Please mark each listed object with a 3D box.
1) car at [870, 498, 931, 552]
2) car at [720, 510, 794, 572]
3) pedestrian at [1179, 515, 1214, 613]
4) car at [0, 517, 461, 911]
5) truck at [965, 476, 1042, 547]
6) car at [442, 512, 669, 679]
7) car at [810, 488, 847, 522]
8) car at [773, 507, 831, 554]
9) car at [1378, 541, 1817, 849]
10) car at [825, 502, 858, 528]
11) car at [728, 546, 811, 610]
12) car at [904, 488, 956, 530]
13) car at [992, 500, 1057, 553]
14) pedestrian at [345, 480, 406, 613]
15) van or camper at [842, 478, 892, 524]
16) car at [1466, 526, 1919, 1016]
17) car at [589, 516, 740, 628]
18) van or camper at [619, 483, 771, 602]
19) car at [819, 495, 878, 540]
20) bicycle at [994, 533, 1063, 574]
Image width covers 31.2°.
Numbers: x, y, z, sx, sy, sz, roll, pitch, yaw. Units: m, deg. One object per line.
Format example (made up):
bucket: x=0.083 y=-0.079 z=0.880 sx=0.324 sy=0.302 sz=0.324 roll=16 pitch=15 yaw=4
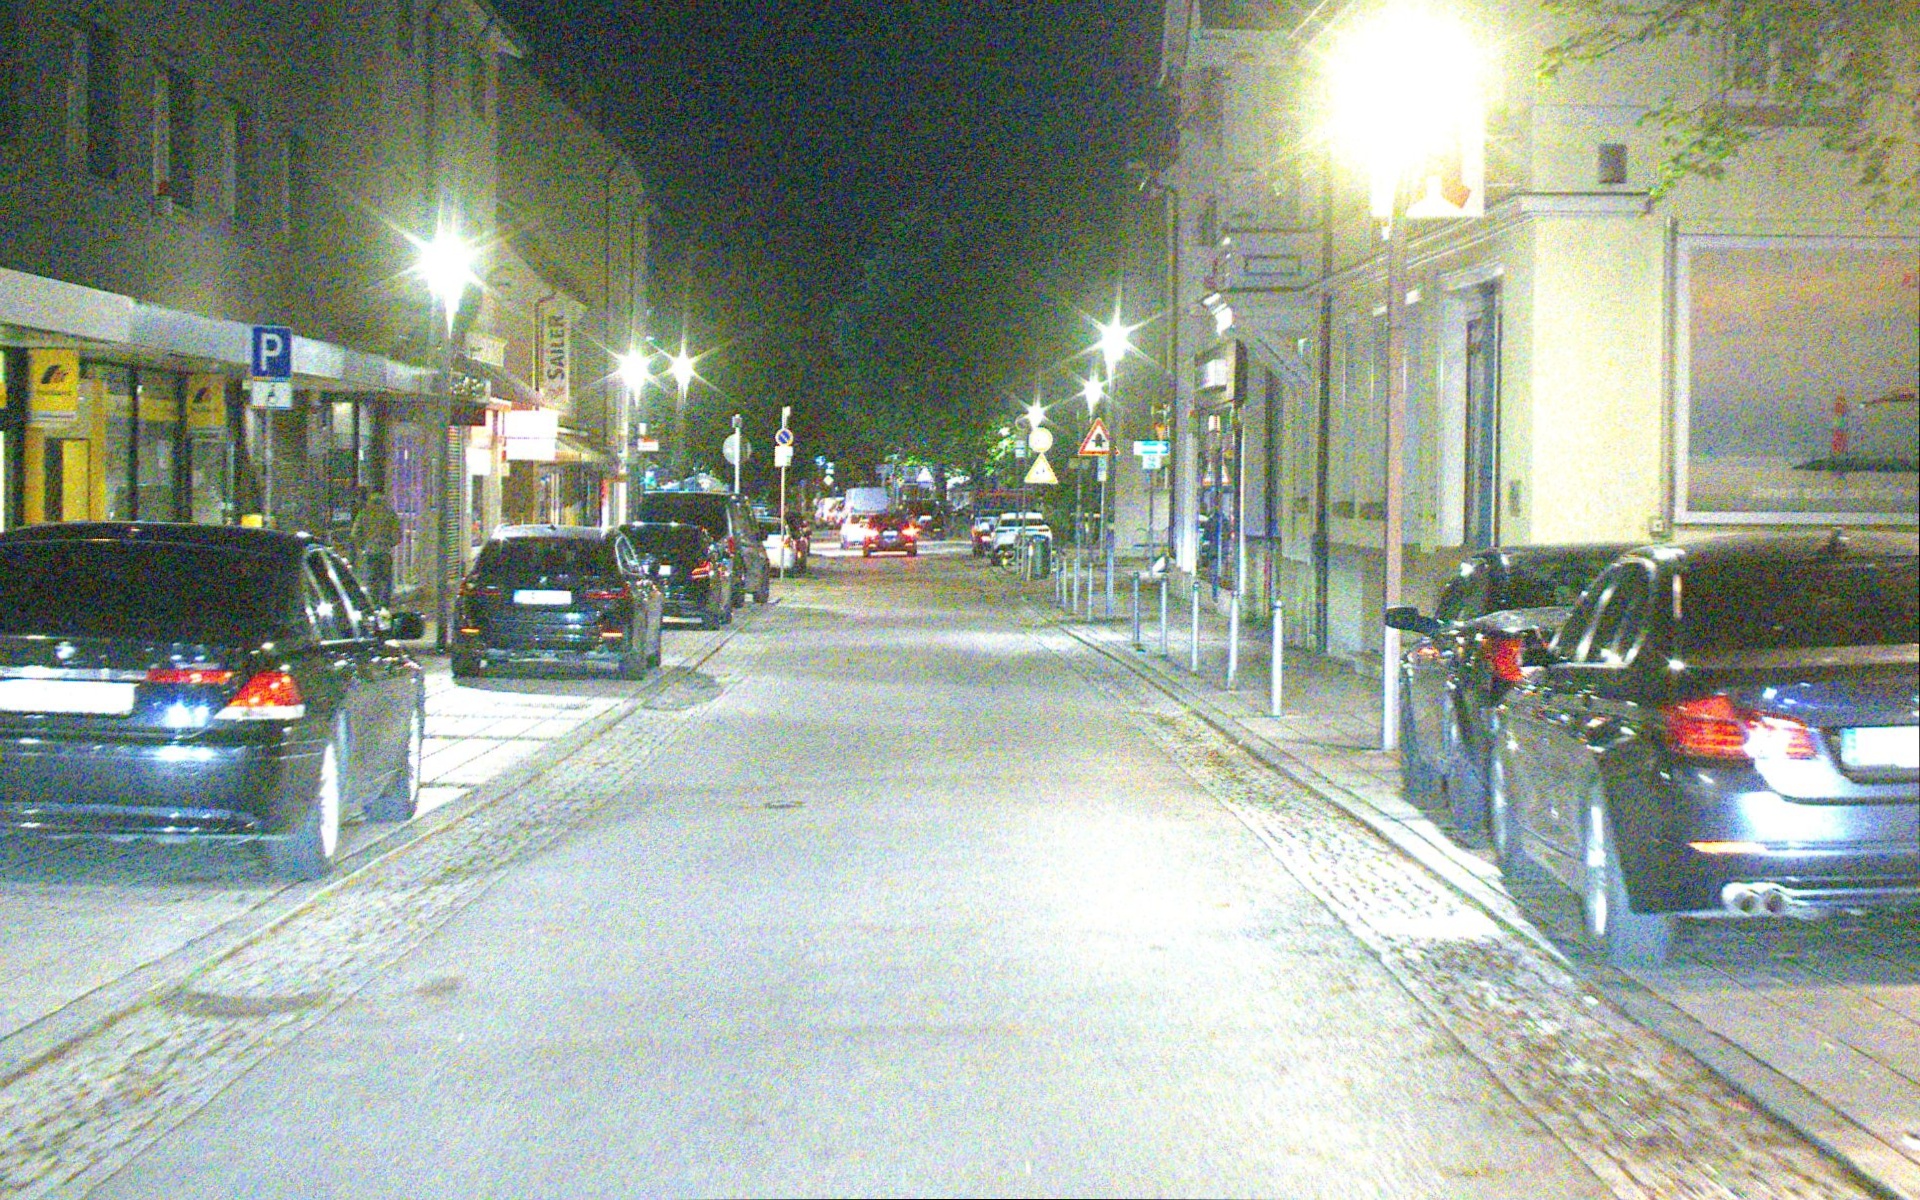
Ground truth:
car: x=-2.068 y=-2.605 z=118.625 sx=1.993 sy=1.817 sz=4.001 roll=0 pitch=2 yaw=-2
car: x=-5.068 y=-1.504 z=86.338 sx=1.728 sy=1.471 sz=3.847 roll=1 pitch=2 yaw=-2
pedestrian: x=3.765 y=-0.572 z=54.736 sx=0.501 sy=1.542 sz=0.480 roll=1 pitch=1 yaw=5
car: x=-3.500 y=0.385 z=15.585 sx=1.845 sy=1.459 sz=4.624 roll=2 pitch=1 yaw=-1
truck: x=1.443 y=-2.986 z=115.486 sx=2.336 sy=2.304 sz=5.781 roll=0 pitch=2 yaw=-2
car: x=-3.896 y=-0.087 z=33.717 sx=1.797 sy=1.473 sz=4.322 roll=2 pitch=1 yaw=-2
car: x=-7.503 y=-5.404 z=195.757 sx=1.839 sy=1.894 sz=3.846 roll=0 pitch=2 yaw=-6
car: x=-5.531 y=-2.443 z=120.151 sx=1.673 sy=1.538 sz=4.232 roll=1 pitch=2 yaw=-7
car: x=3.219 y=0.407 z=18.062 sx=1.661 sy=1.373 sz=4.104 roll=-1 pitch=1 yaw=2
car: x=-6.538 y=-4.688 z=189.956 sx=1.531 sy=1.413 sz=3.846 roll=0 pitch=2 yaw=-6
car: x=-5.066 y=-0.600 z=91.818 sx=2.019 sy=1.483 sz=5.008 roll=3 pitch=2 yaw=-2
car: x=-1.323 y=-4.013 z=151.027 sx=1.814 sy=1.822 sz=4.348 roll=0 pitch=2 yaw=-7
car: x=1.859 y=-2.153 z=99.974 sx=1.789 sy=1.486 sz=4.059 roll=-1 pitch=2 yaw=0
pedestrian: x=-7.727 y=-0.713 z=45.468 sx=0.621 sy=1.739 sz=1.023 roll=1 pitch=1 yaw=-1
van or camper: x=-4.816 y=-5.127 z=177.106 sx=2.108 sy=2.309 sz=4.263 roll=-1 pitch=2 yaw=-8
car: x=3.022 y=0.479 z=12.776 sx=1.753 sy=1.459 sz=4.466 roll=-1 pitch=1 yaw=2
car: x=-4.063 y=-0.426 z=47.886 sx=1.716 sy=1.408 sz=4.386 roll=2 pitch=2 yaw=0
van or camper: x=-4.587 y=-1.033 z=60.154 sx=1.846 sy=1.935 sz=5.153 roll=1 pitch=2 yaw=4
car: x=-4.357 y=-3.223 z=133.986 sx=1.993 sy=1.697 sz=4.001 roll=0 pitch=2 yaw=-6
bicycle: x=1.759 y=-1.198 z=88.511 sx=1.754 sy=1.058 sz=0.346 roll=0 pitch=2 yaw=-3
